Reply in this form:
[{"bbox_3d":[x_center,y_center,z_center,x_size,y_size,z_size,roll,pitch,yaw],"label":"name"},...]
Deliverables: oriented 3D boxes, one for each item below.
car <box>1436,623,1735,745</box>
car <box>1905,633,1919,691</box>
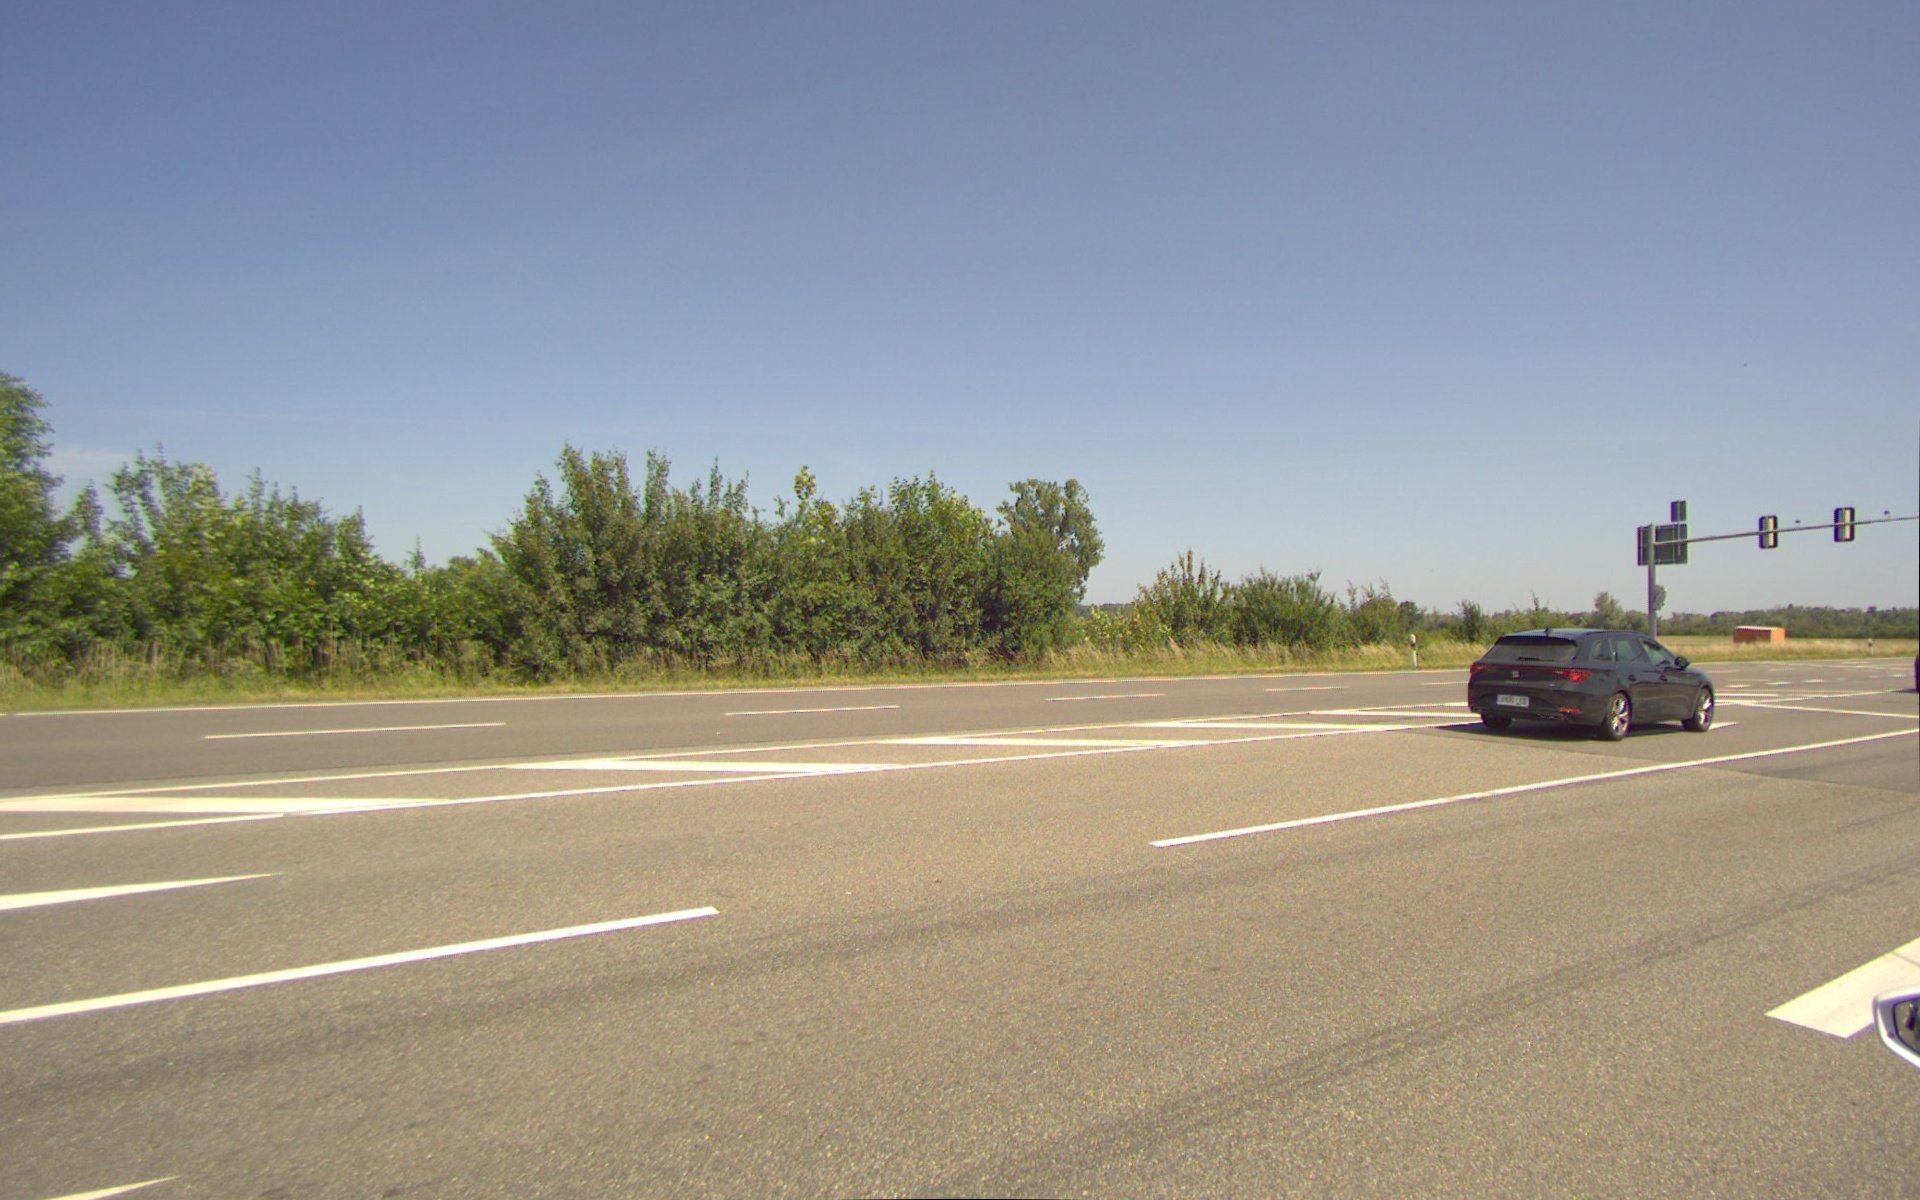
[{"bbox_3d":[8.993,1.120,14.338,4.476,1.466,1.878,2,-1,-32],"label":"car"},{"bbox_3d":[26.106,1.628,25.857,4.421,1.430,1.664,2,-1,-34],"label":"car"}]
